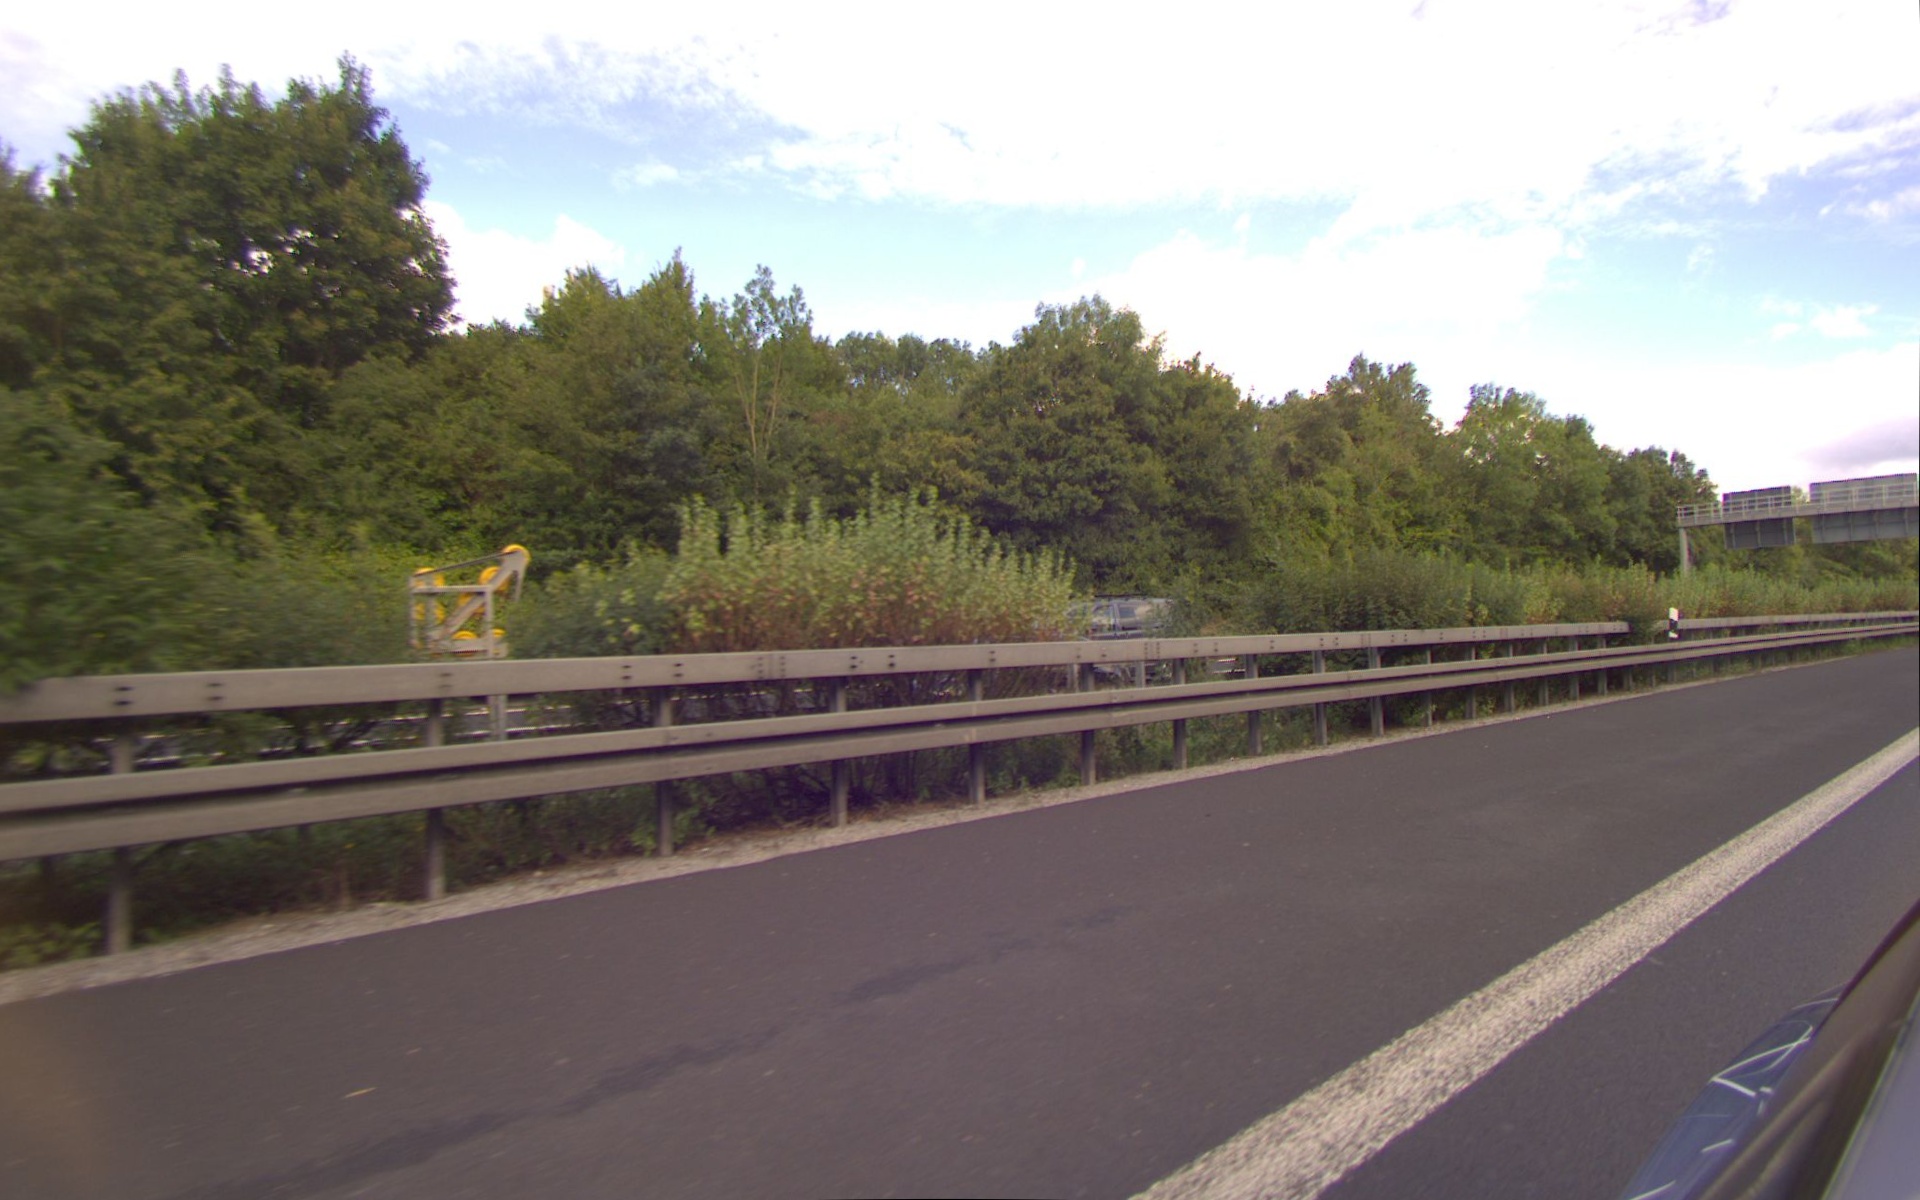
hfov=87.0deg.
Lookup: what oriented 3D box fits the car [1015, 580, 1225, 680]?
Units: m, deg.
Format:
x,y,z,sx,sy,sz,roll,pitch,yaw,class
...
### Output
x,y,z,sx,sy,sz,roll,pitch,yaw,class
3.708,0.606,23.013,4.820,2.039,1.998,0,0,-38,car
